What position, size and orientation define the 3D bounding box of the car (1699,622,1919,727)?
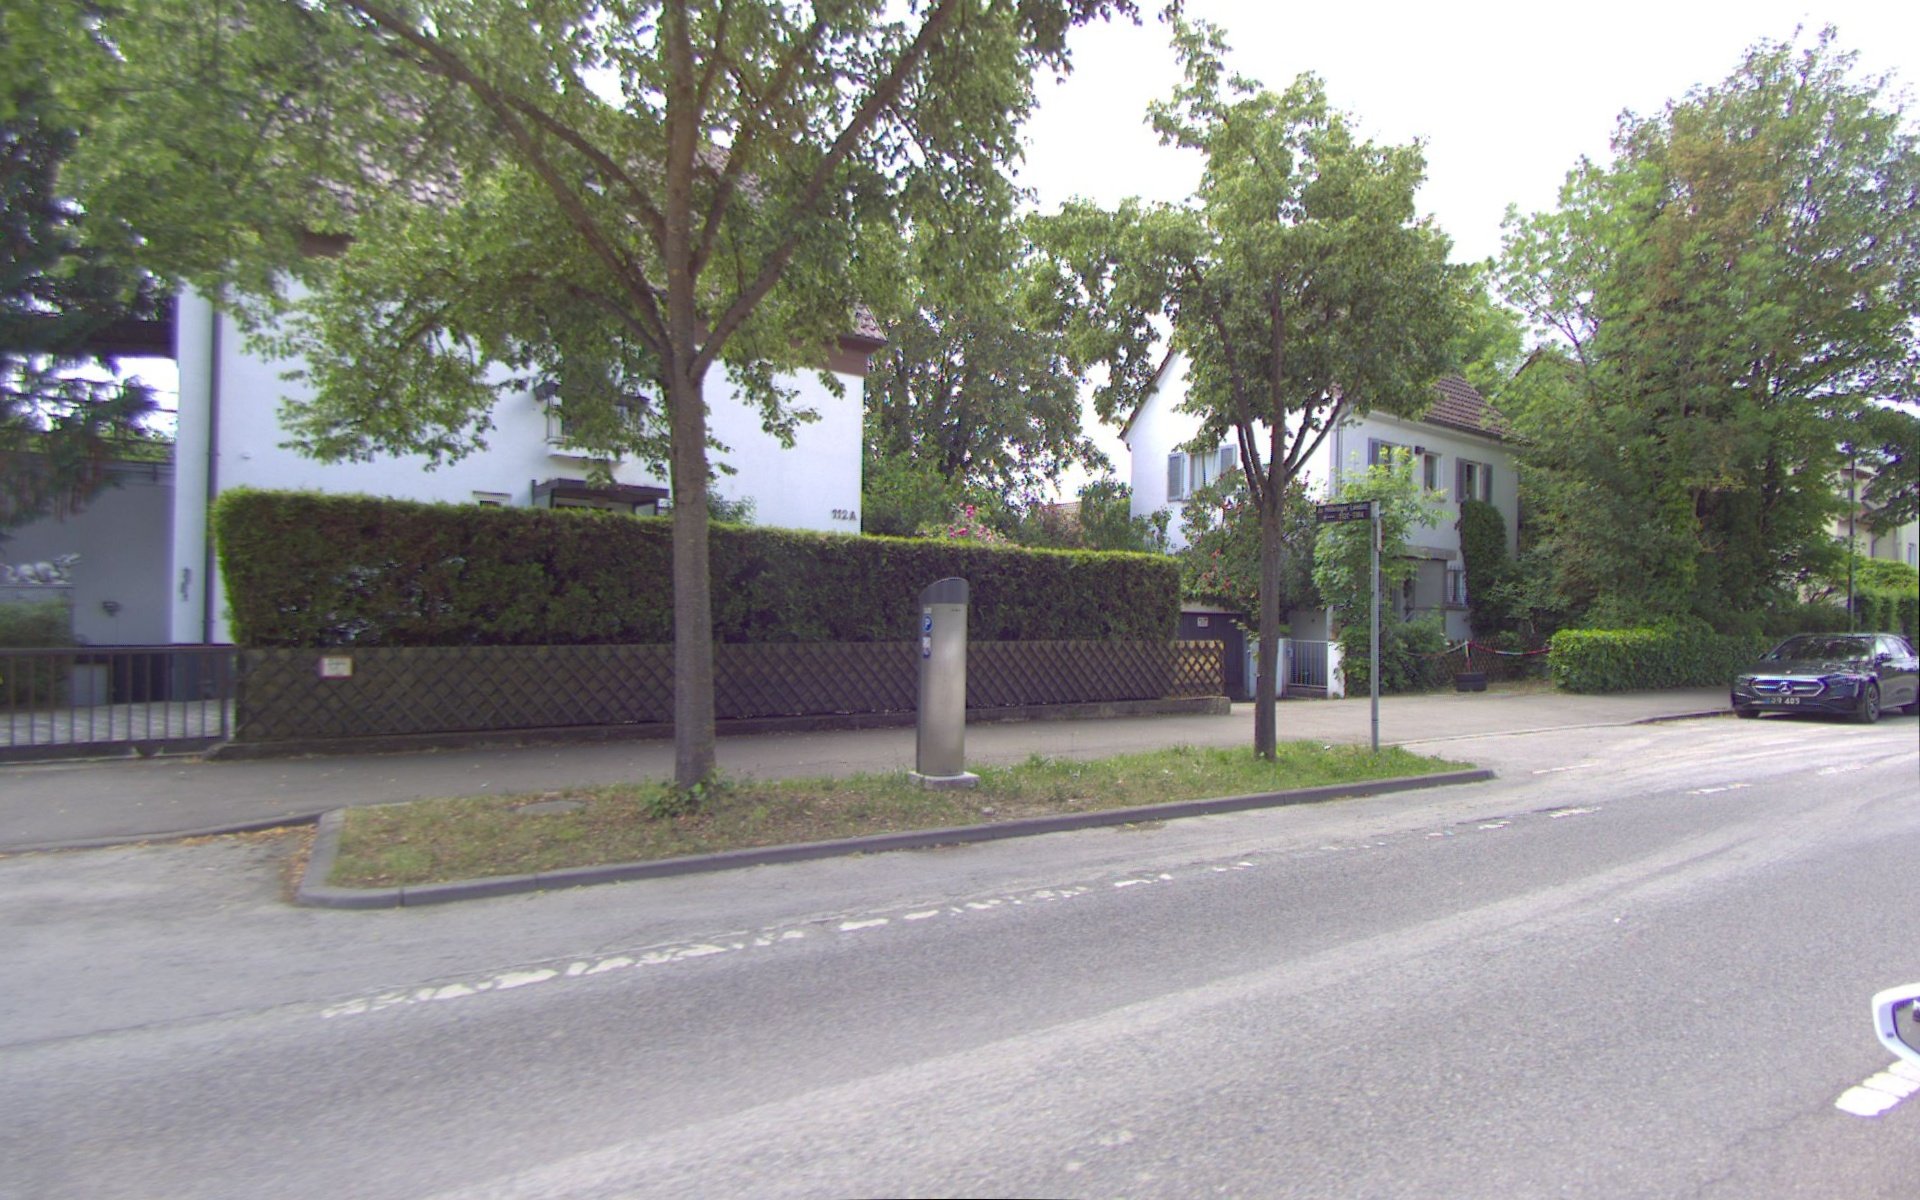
[{"bbox_3d":[15.696,1.249,18.276,4.986,1.669,2.082,1,-2,-34],"label":"car"}]
